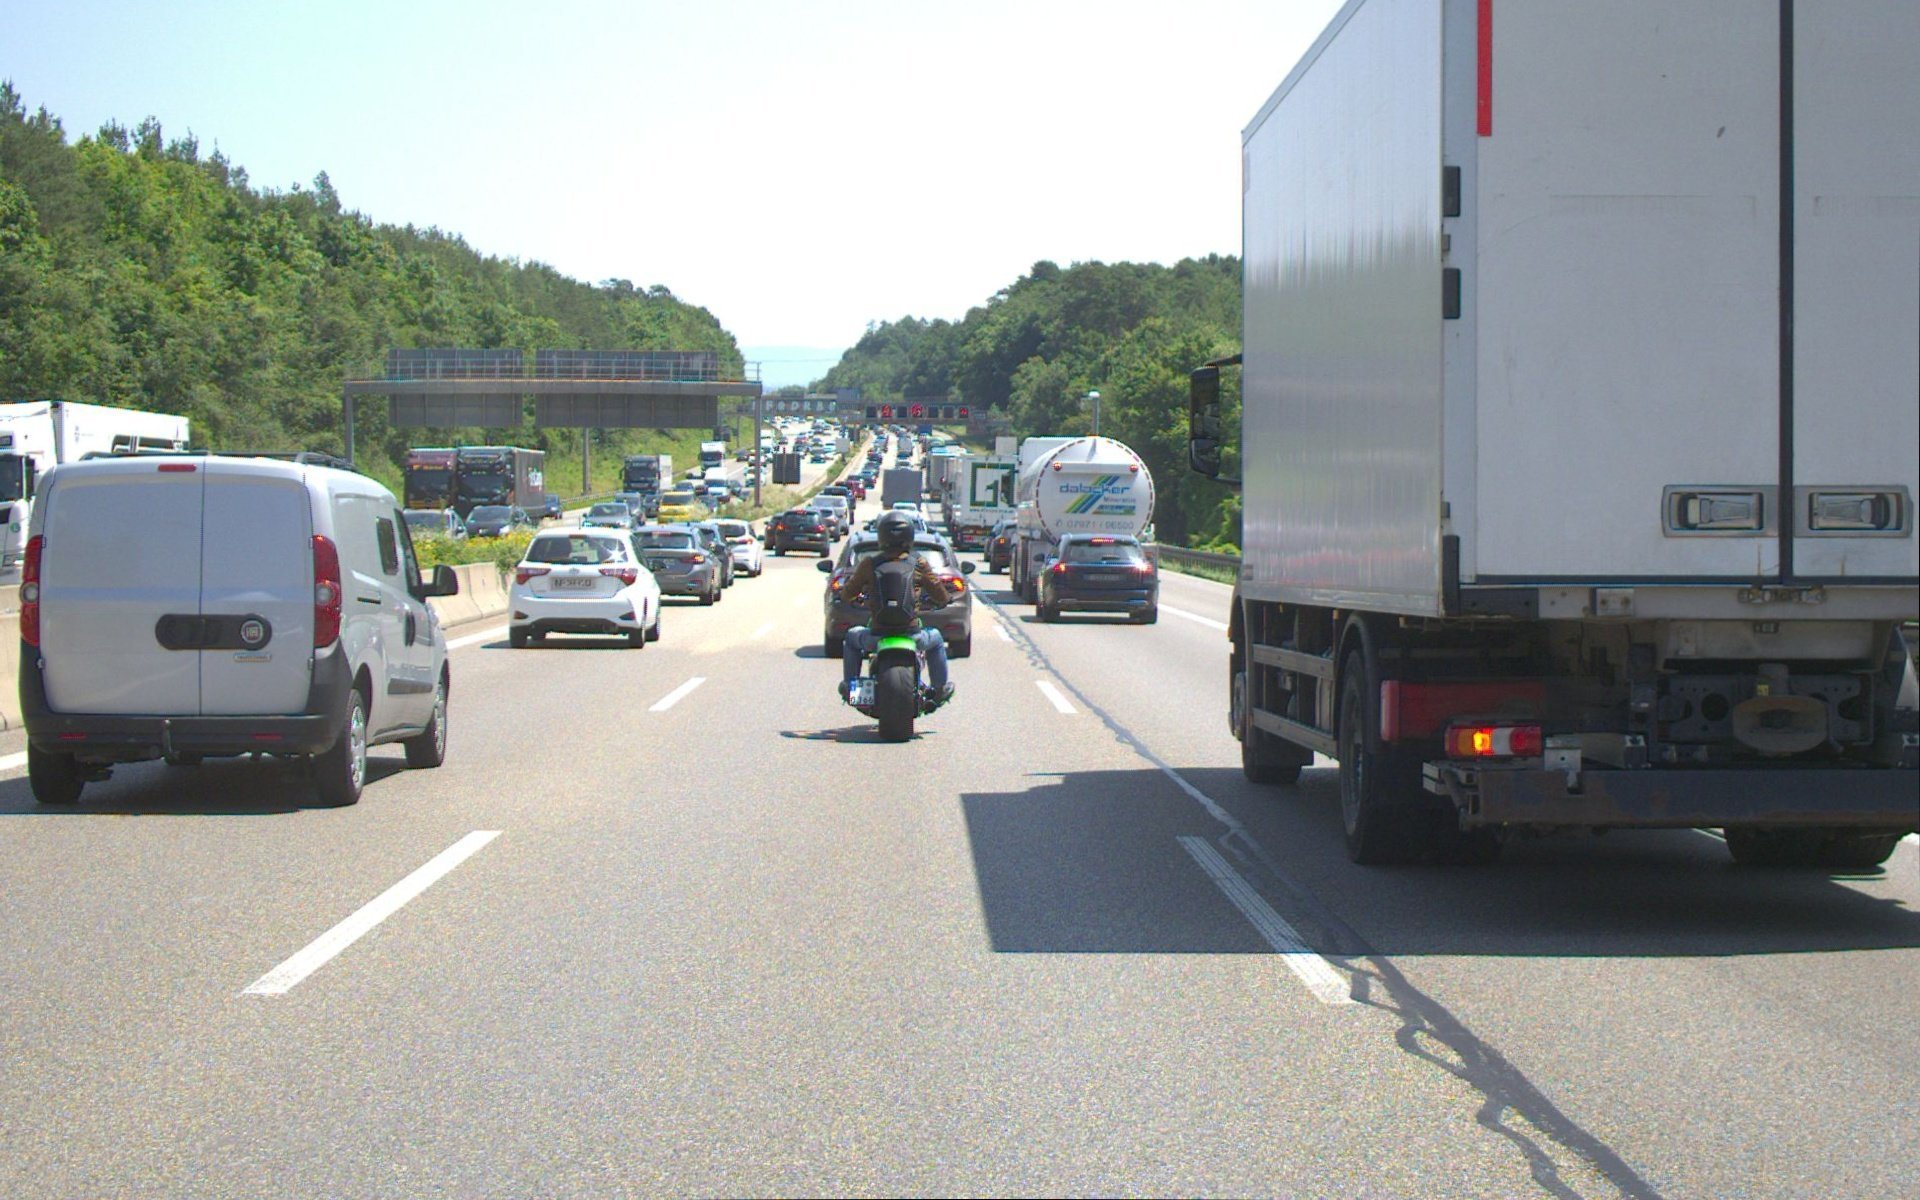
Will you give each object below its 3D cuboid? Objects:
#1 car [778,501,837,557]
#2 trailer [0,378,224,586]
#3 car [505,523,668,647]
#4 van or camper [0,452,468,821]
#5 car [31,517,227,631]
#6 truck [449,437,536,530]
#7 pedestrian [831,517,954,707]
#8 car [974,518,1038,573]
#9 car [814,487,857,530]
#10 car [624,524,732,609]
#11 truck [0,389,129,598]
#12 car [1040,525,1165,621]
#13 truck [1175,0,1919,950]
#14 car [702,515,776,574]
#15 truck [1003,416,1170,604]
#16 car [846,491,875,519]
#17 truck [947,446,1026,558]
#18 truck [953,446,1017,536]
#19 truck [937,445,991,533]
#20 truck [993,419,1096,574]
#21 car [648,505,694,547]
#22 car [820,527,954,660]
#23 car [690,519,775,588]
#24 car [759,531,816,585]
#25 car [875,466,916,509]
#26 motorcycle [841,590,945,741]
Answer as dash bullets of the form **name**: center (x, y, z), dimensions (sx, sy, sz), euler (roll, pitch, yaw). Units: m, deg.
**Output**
- **car**: center (-5.299, -2.481, 119.677), dimensions (1.880, 1.853, 4.000), euler (1, 1, 0)
- **trailer**: center (-19.829, -2.538, 78.783), dimensions (2.803, 4.323, 14.037), euler (-1, 1, 0)
- **car**: center (-4.726, -0.228, 43.936), dimensions (1.699, 1.473, 4.000), euler (1, 2, -1)
- **van or camper**: center (-4.073, 0.166, 19.899), dimensions (1.796, 1.886, 4.160), euler (1, 1, 0)
- **car**: center (-12.408, -0.417, 51.592), dimensions (1.906, 1.634, 4.537), euler (0, 1, -1)
- **truck**: center (-21.164, -5.232, 156.024), dimensions (2.906, 3.960, 7.770), euler (-1, 1, -1)
- **pedestrian**: center (-0.489, 0.080, 25.396), dimensions (0.849, 1.357, 0.961), euler (-1, 1, 1)
- **car**: center (1.334, -1.619, 101.570), dimensions (1.787, 1.550, 3.804), euler (1, 2, -1)
- **car**: center (-6.137, -4.495, 169.490), dimensions (1.929, 2.007, 4.000), euler (-1, 1, 0)
- **car**: center (-5.164, -0.637, 63.305), dimensions (1.699, 1.473, 4.000), euler (1, 2, -1)
- **truck**: center (-19.858, -2.145, 72.327), dimensions (2.803, 4.150, 7.600), euler (-1, 1, 0)
- **car**: center (2.328, -0.472, 56.992), dimensions (1.828, 1.465, 4.000), euler (1, 1, -1)
- **truck**: center (2.946, -0.777, 17.621), dimensions (2.688, 3.863, 9.781), euler (-2, 1, -1)
- **car**: center (-5.689, -1.460, 88.945), dimensions (1.699, 1.473, 4.000), euler (1, 2, -1)
- **truck**: center (2.567, -1.832, 72.666), dimensions (2.988, 3.659, 9.288), euler (-1, 1, -1)
- **car**: center (-7.215, -6.929, 250.594), dimensions (1.993, 2.007, 4.000), euler (1, 1, -1)
- **truck**: center (1.077, -4.166, 146.624), dimensions (3.033, 4.526, 9.983), euler (2, 2, -1)
- **truck**: center (1.283, -5.746, 182.247), dimensions (3.033, 4.526, 9.983), euler (2, 2, -1)
- **truck**: center (0.225, -6.769, 210.315), dimensions (3.033, 5.121, 9.983), euler (2, 2, -1)
- **truck**: center (1.981, -2.412, 81.570), dimensions (1.993, 3.510, 4.752), euler (-1, 1, -3)
- **car**: center (-14.520, -3.715, 172.915), dimensions (1.879, 2.007, 4.469), euler (-2, 1, 0)
- **car**: center (-0.899, -0.120, 42.042), dimensions (1.532, 1.504, 4.000), euler (-1, 1, -1)
- **car**: center (-5.084, -1.065, 77.272), dimensions (1.699, 1.473, 4.000), euler (1, 2, -1)
- **car**: center (-6.670, -1.641, 133.319), dimensions (1.993, 2.007, 4.000), euler (-1, 1, 0)
- **car**: center (-3.982, -6.990, 213.869), dimensions (2.504, 2.578, 5.017), euler (1, 2, -1)
- **motorcycle**: center (-0.477, 0.464, 25.444), dimensions (0.691, 1.012, 2.121), euler (1, 1, 0)
